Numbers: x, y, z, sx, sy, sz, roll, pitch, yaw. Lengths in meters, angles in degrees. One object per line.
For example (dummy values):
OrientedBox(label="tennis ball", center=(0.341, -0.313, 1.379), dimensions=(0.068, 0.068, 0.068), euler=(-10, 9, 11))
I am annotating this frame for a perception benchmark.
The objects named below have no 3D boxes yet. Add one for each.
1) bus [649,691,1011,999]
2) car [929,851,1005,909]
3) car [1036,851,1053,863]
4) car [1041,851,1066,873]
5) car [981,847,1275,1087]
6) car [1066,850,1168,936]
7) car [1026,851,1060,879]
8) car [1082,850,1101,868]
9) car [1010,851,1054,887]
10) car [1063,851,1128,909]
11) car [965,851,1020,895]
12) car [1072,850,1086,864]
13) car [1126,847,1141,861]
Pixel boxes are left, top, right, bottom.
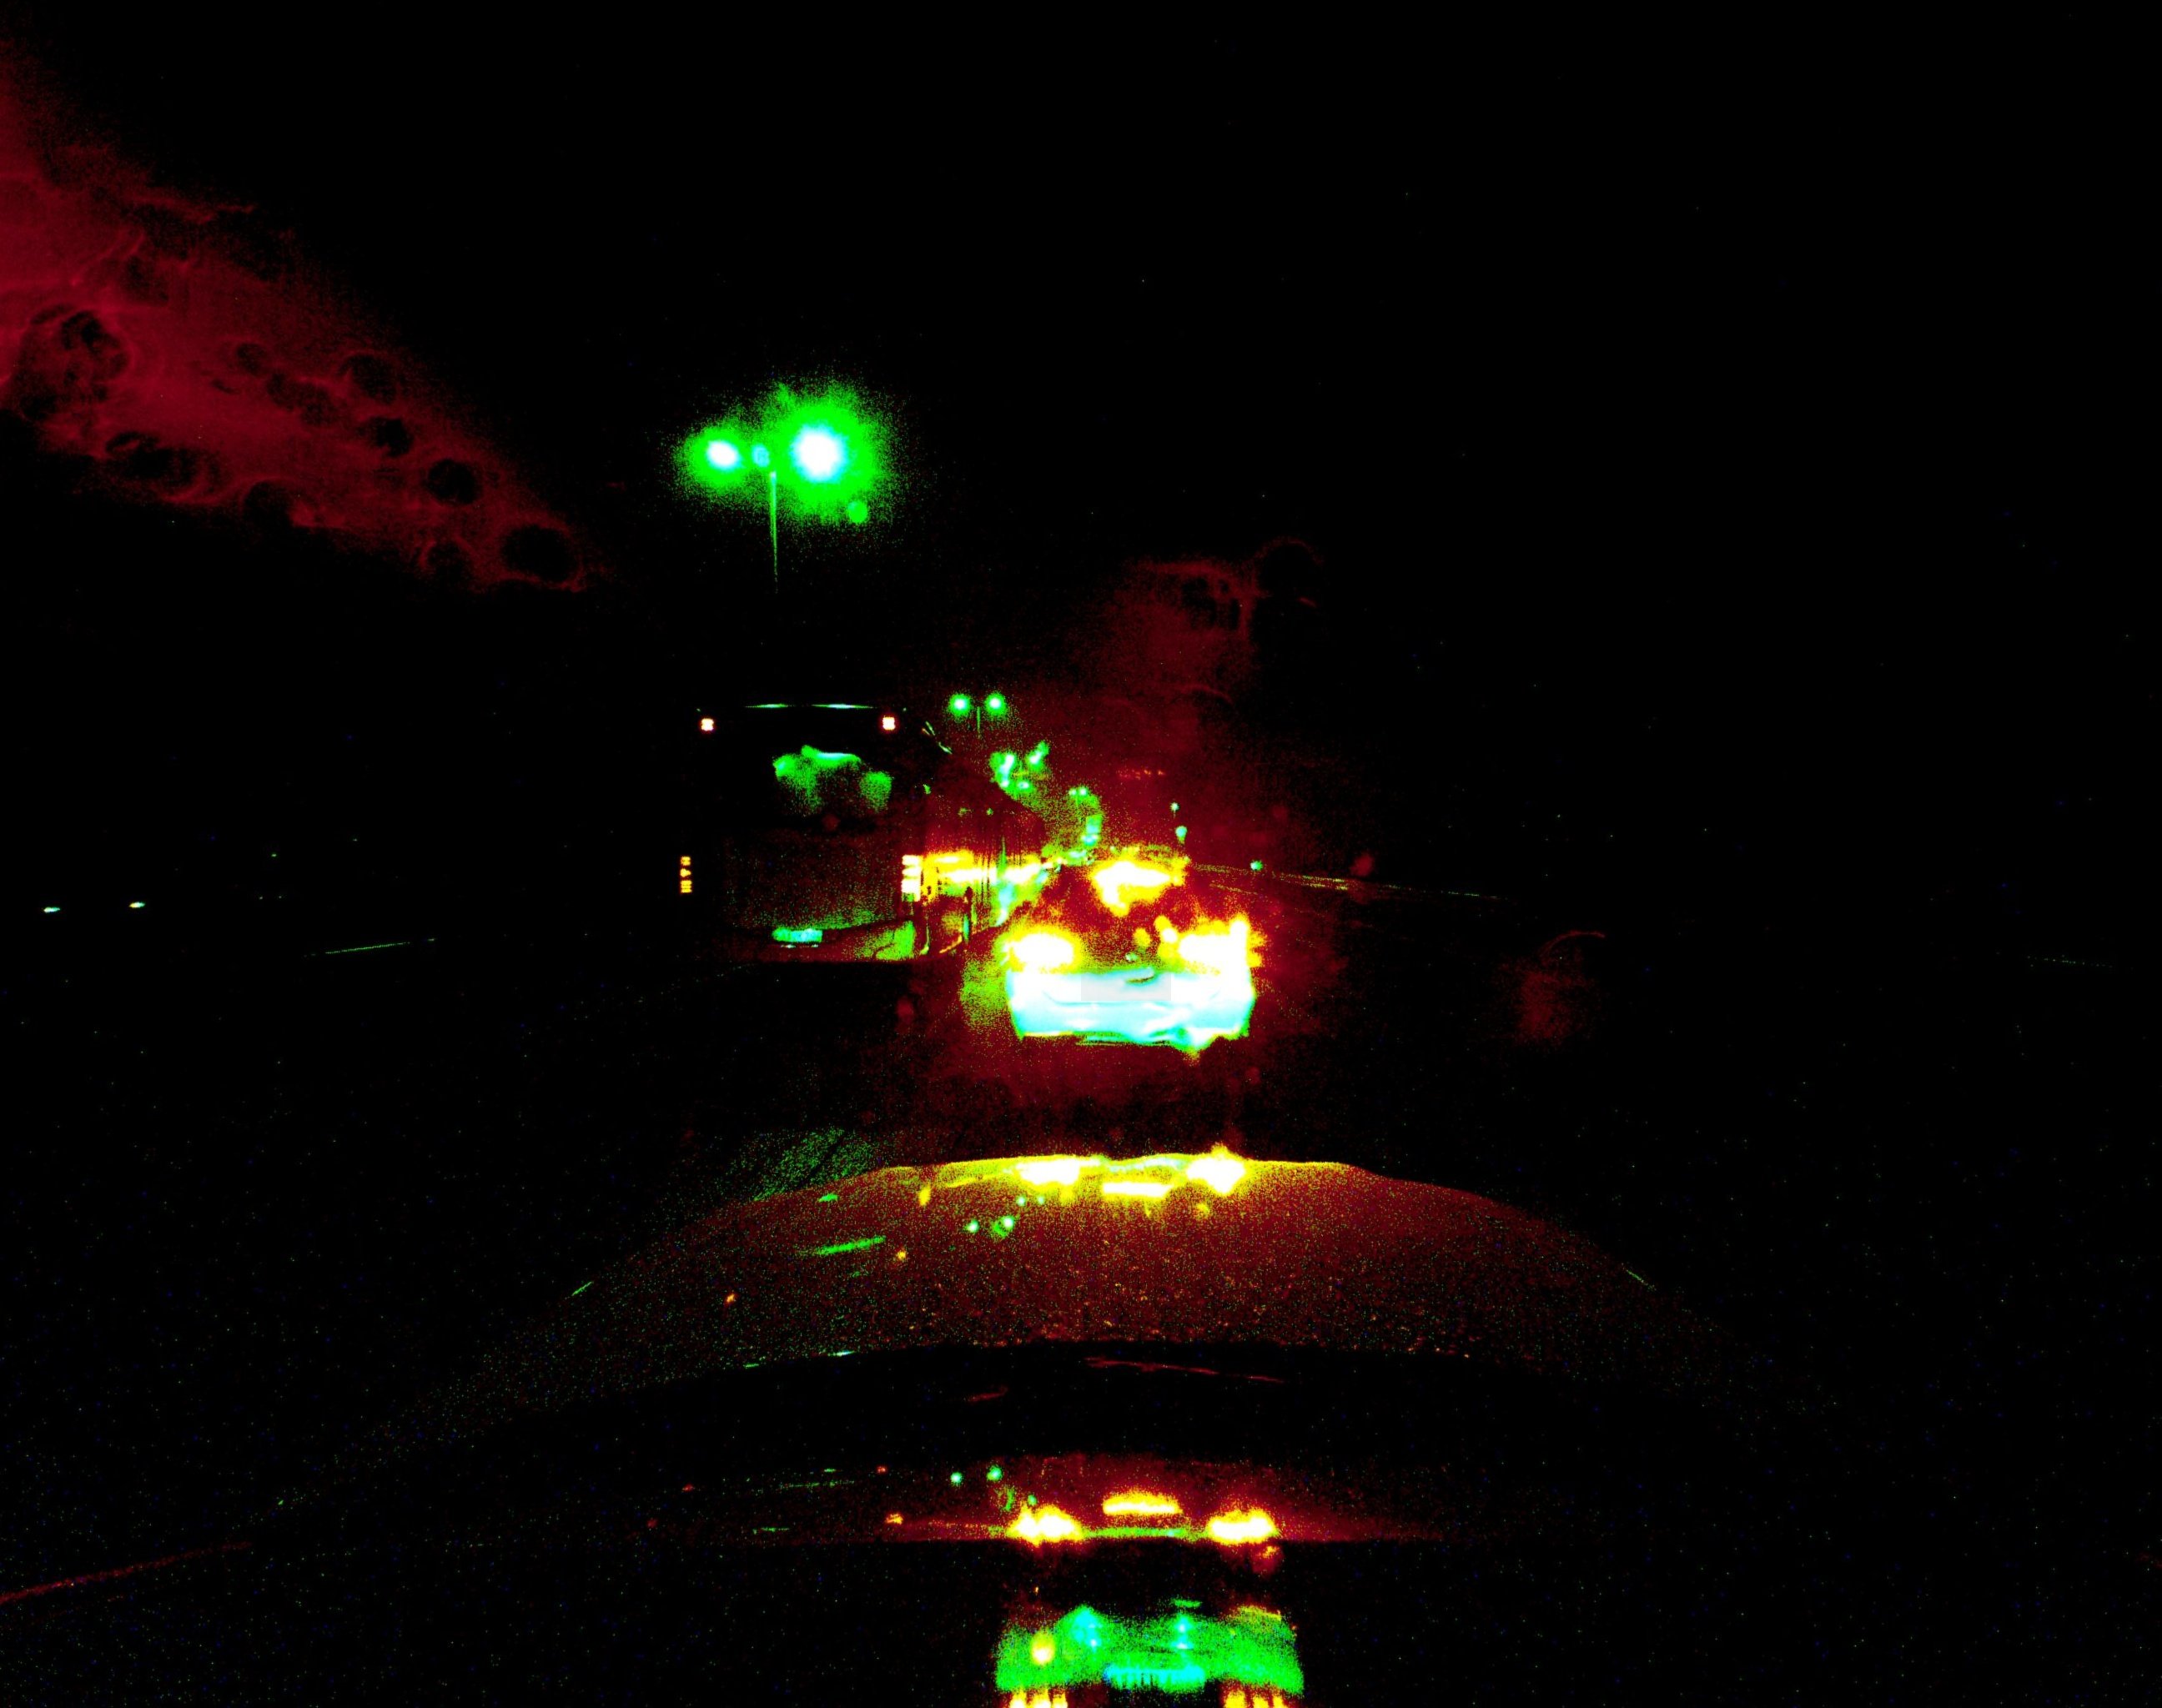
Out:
OrientedBox(label="bus", center=(-2.876, -0.104, 12.473), dimensions=(2.806, 3.024, 8.685), euler=(-1, 0, 0))
OrientedBox(label="car", center=(-3.254, 0.685, 23.977), dimensions=(1.775, 1.543, 3.872), euler=(-1, 0, -2))
OrientedBox(label="car", center=(-5.173, 0.392, 116.055), dimensions=(1.986, 1.640, 4.002), euler=(-1, 0, 2))
OrientedBox(label="car", center=(-1.978, 0.571, 58.971), dimensions=(1.775, 1.543, 3.872), euler=(-1, 0, -2))
OrientedBox(label="car", center=(0.448, 0.707, 7.395), dimensions=(1.813, 1.484, 4.573), euler=(-1, 0, 4))
OrientedBox(label="car", center=(0.622, 0.669, 16.305), dimensions=(1.726, 1.449, 4.724), euler=(-1, 0, 0))
OrientedBox(label="car", center=(-2.160, 0.618, 47.163), dimensions=(1.774, 1.543, 3.874), euler=(-1, 0, 0))
OrientedBox(label="car", center=(1.204, 0.548, 91.328), dimensions=(1.986, 2.013, 4.002), euler=(-1, 0, 2))
OrientedBox(label="car", center=(-2.186, 0.637, 37.052), dimensions=(1.774, 1.543, 3.873), euler=(-1, 0, -1))
OrientedBox(label="car", center=(0.352, 0.711, 24.192), dimensions=(1.735, 1.565, 3.774), euler=(-1, 0, -2))
OrientedBox(label="car", center=(-3.330, 0.678, 31.213), dimensions=(1.775, 1.543, 3.872), euler=(-1, 0, -2))
OrientedBox(label="car", center=(-0.272, 0.399, 110.408), dimensions=(1.810, 1.797, 3.804), euler=(0, 0, 2))
OrientedBox(label="car", center=(7.533, -0.004, 117.584), dimensions=(1.945, 1.882, 4.001), euler=(0, 0, 2))
